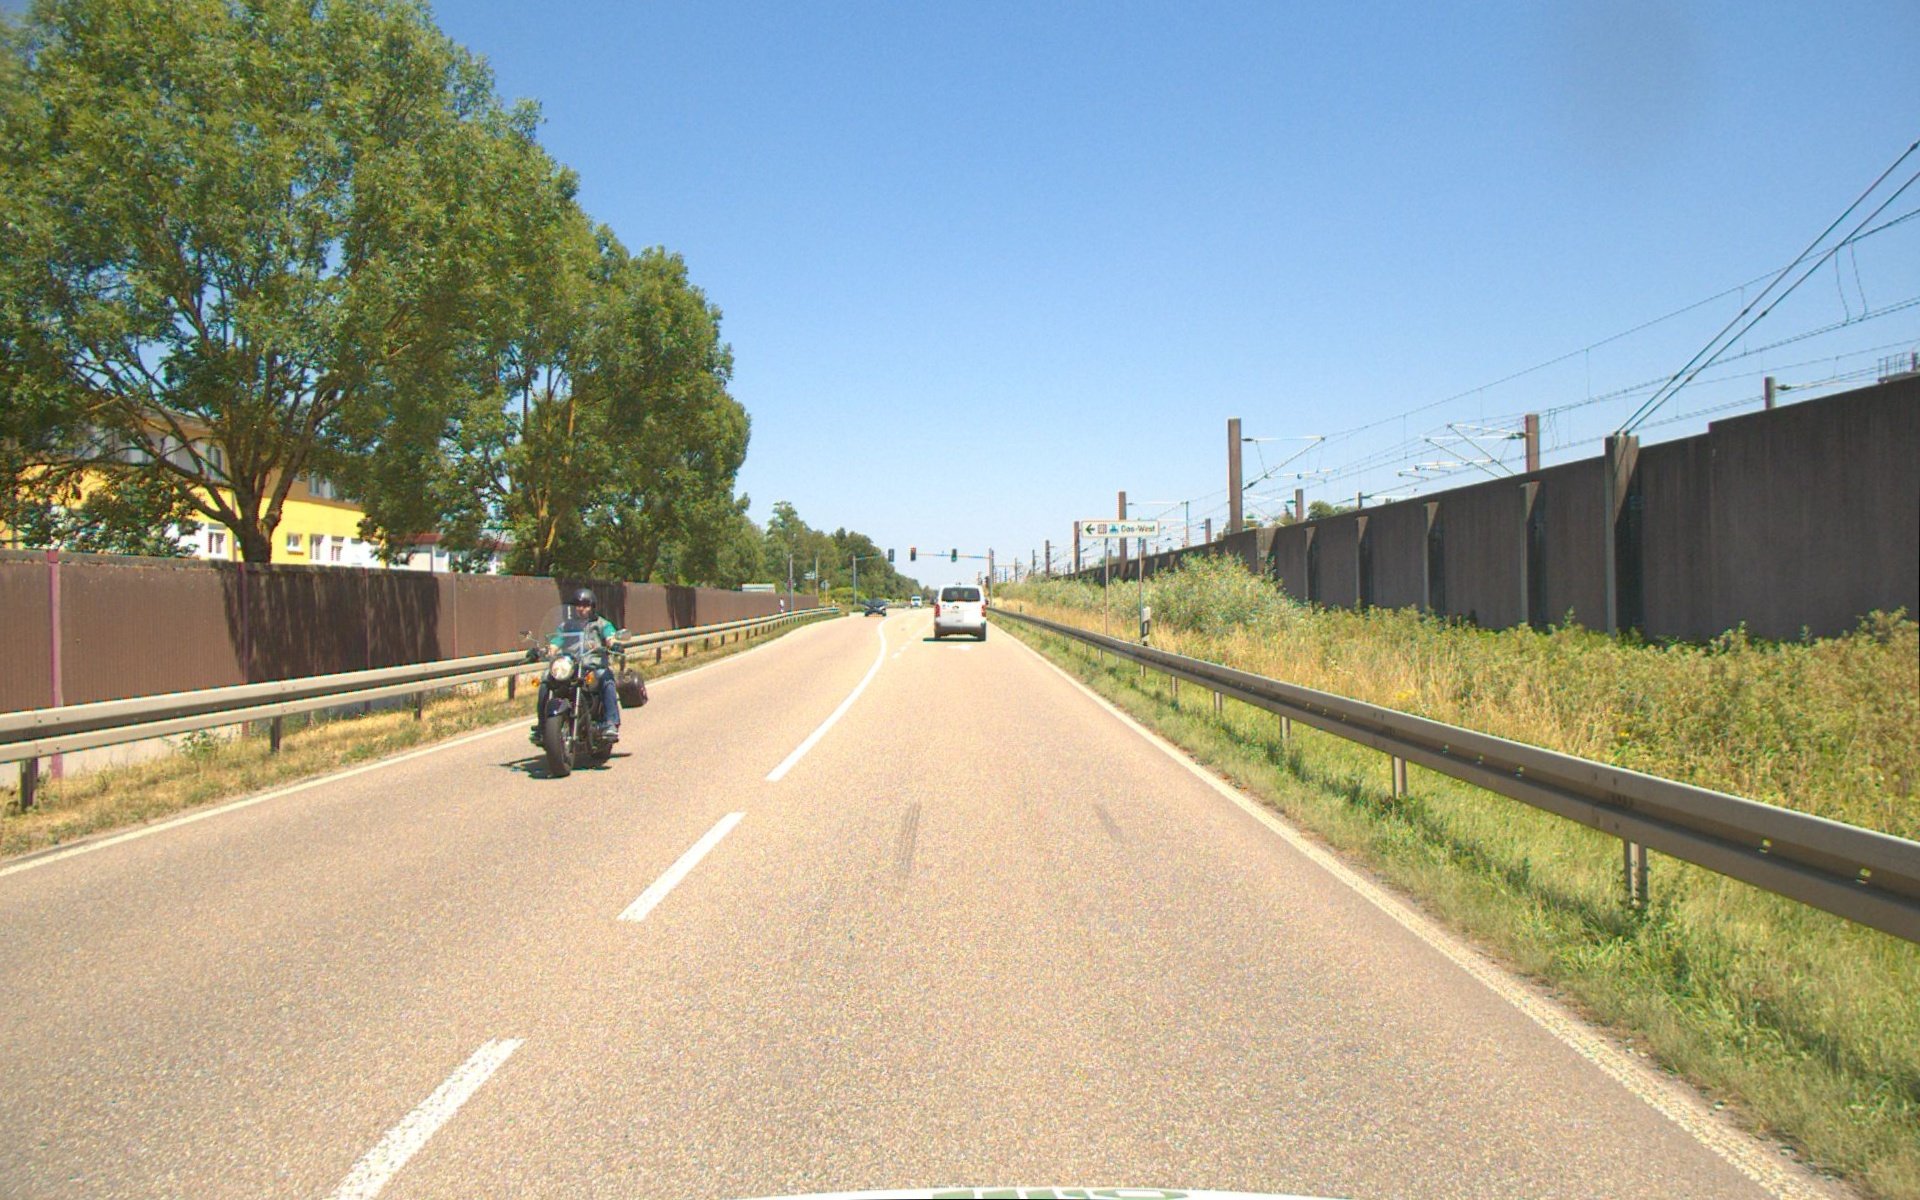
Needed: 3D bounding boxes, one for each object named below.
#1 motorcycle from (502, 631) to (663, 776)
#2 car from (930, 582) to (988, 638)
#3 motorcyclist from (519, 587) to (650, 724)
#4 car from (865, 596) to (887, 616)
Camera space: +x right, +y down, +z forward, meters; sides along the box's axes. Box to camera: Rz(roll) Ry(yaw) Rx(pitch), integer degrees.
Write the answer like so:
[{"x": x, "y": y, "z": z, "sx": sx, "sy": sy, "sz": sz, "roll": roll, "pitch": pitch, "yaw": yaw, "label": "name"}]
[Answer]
[{"x": -3.346, "y": 0.882, "z": 14.916, "sx": 0.934, "sy": 1.127, "sz": 2.335, "roll": 1, "pitch": 0, "yaw": -1, "label": "motorcycle"}, {"x": -0.030, "y": 0.342, "z": 58.601, "sx": 1.953, "sy": 1.882, "sz": 4.000, "roll": 1, "pitch": 0, "yaw": 0, "label": "car"}, {"x": -3.341, "y": 0.479, "z": 14.797, "sx": 0.918, "sy": 1.150, "sz": 0.927, "roll": 2, "pitch": 0, "yaw": -1, "label": "motorcyclist"}, {"x": -7.126, "y": 0.537, "z": 140.350, "sx": 1.783, "sy": 1.624, "sz": 3.999, "roll": 1, "pitch": 0, "yaw": -2, "label": "car"}]
